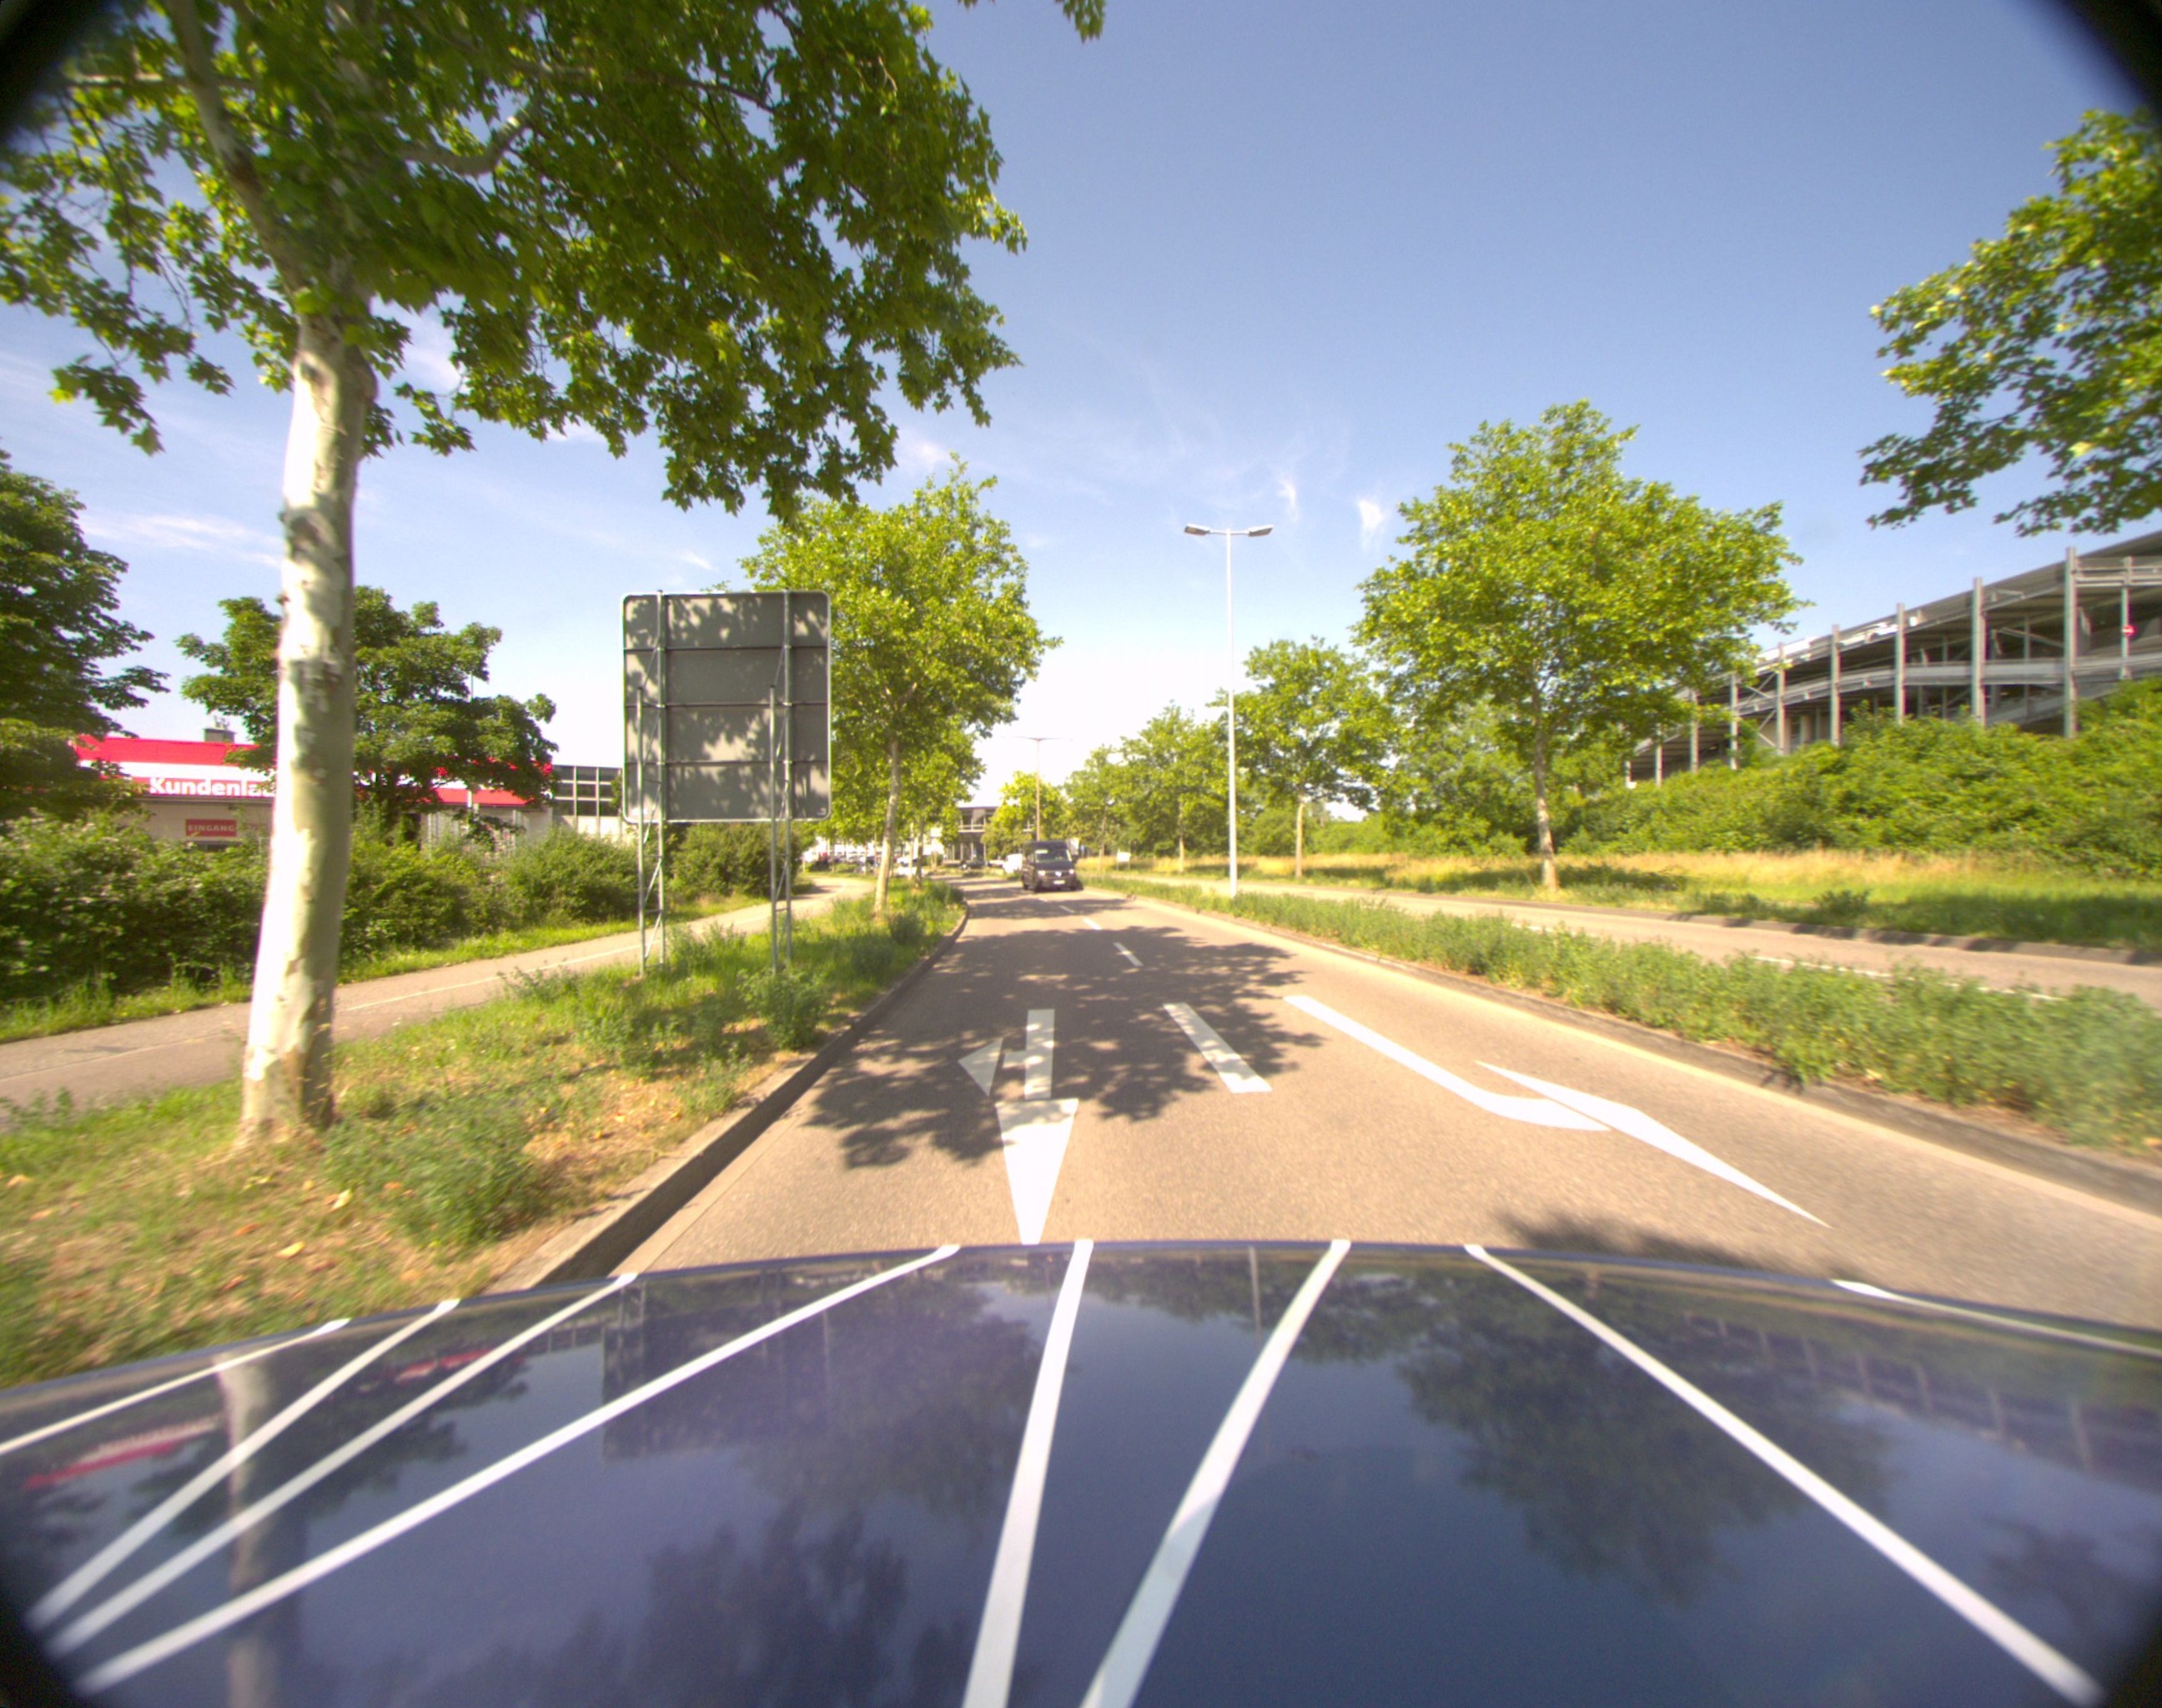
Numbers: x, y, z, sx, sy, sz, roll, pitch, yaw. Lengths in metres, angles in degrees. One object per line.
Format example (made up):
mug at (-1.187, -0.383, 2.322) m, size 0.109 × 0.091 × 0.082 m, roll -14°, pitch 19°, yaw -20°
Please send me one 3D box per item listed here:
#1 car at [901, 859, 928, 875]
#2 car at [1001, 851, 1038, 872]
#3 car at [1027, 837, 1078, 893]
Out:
car at (-16.216, 1.233, 73.693) m, size 1.827 × 1.512 × 4.200 m, roll -2°, pitch 0°, yaw -22°
car at (-6.193, 0.772, 76.098) m, size 2.003 × 2.002 × 4.506 m, roll -2°, pitch 0°, yaw -27°
car at (-1.560, 0.517, 38.544) m, size 2.022 × 2.592 × 6.164 m, roll -2°, pitch 0°, yaw -7°
